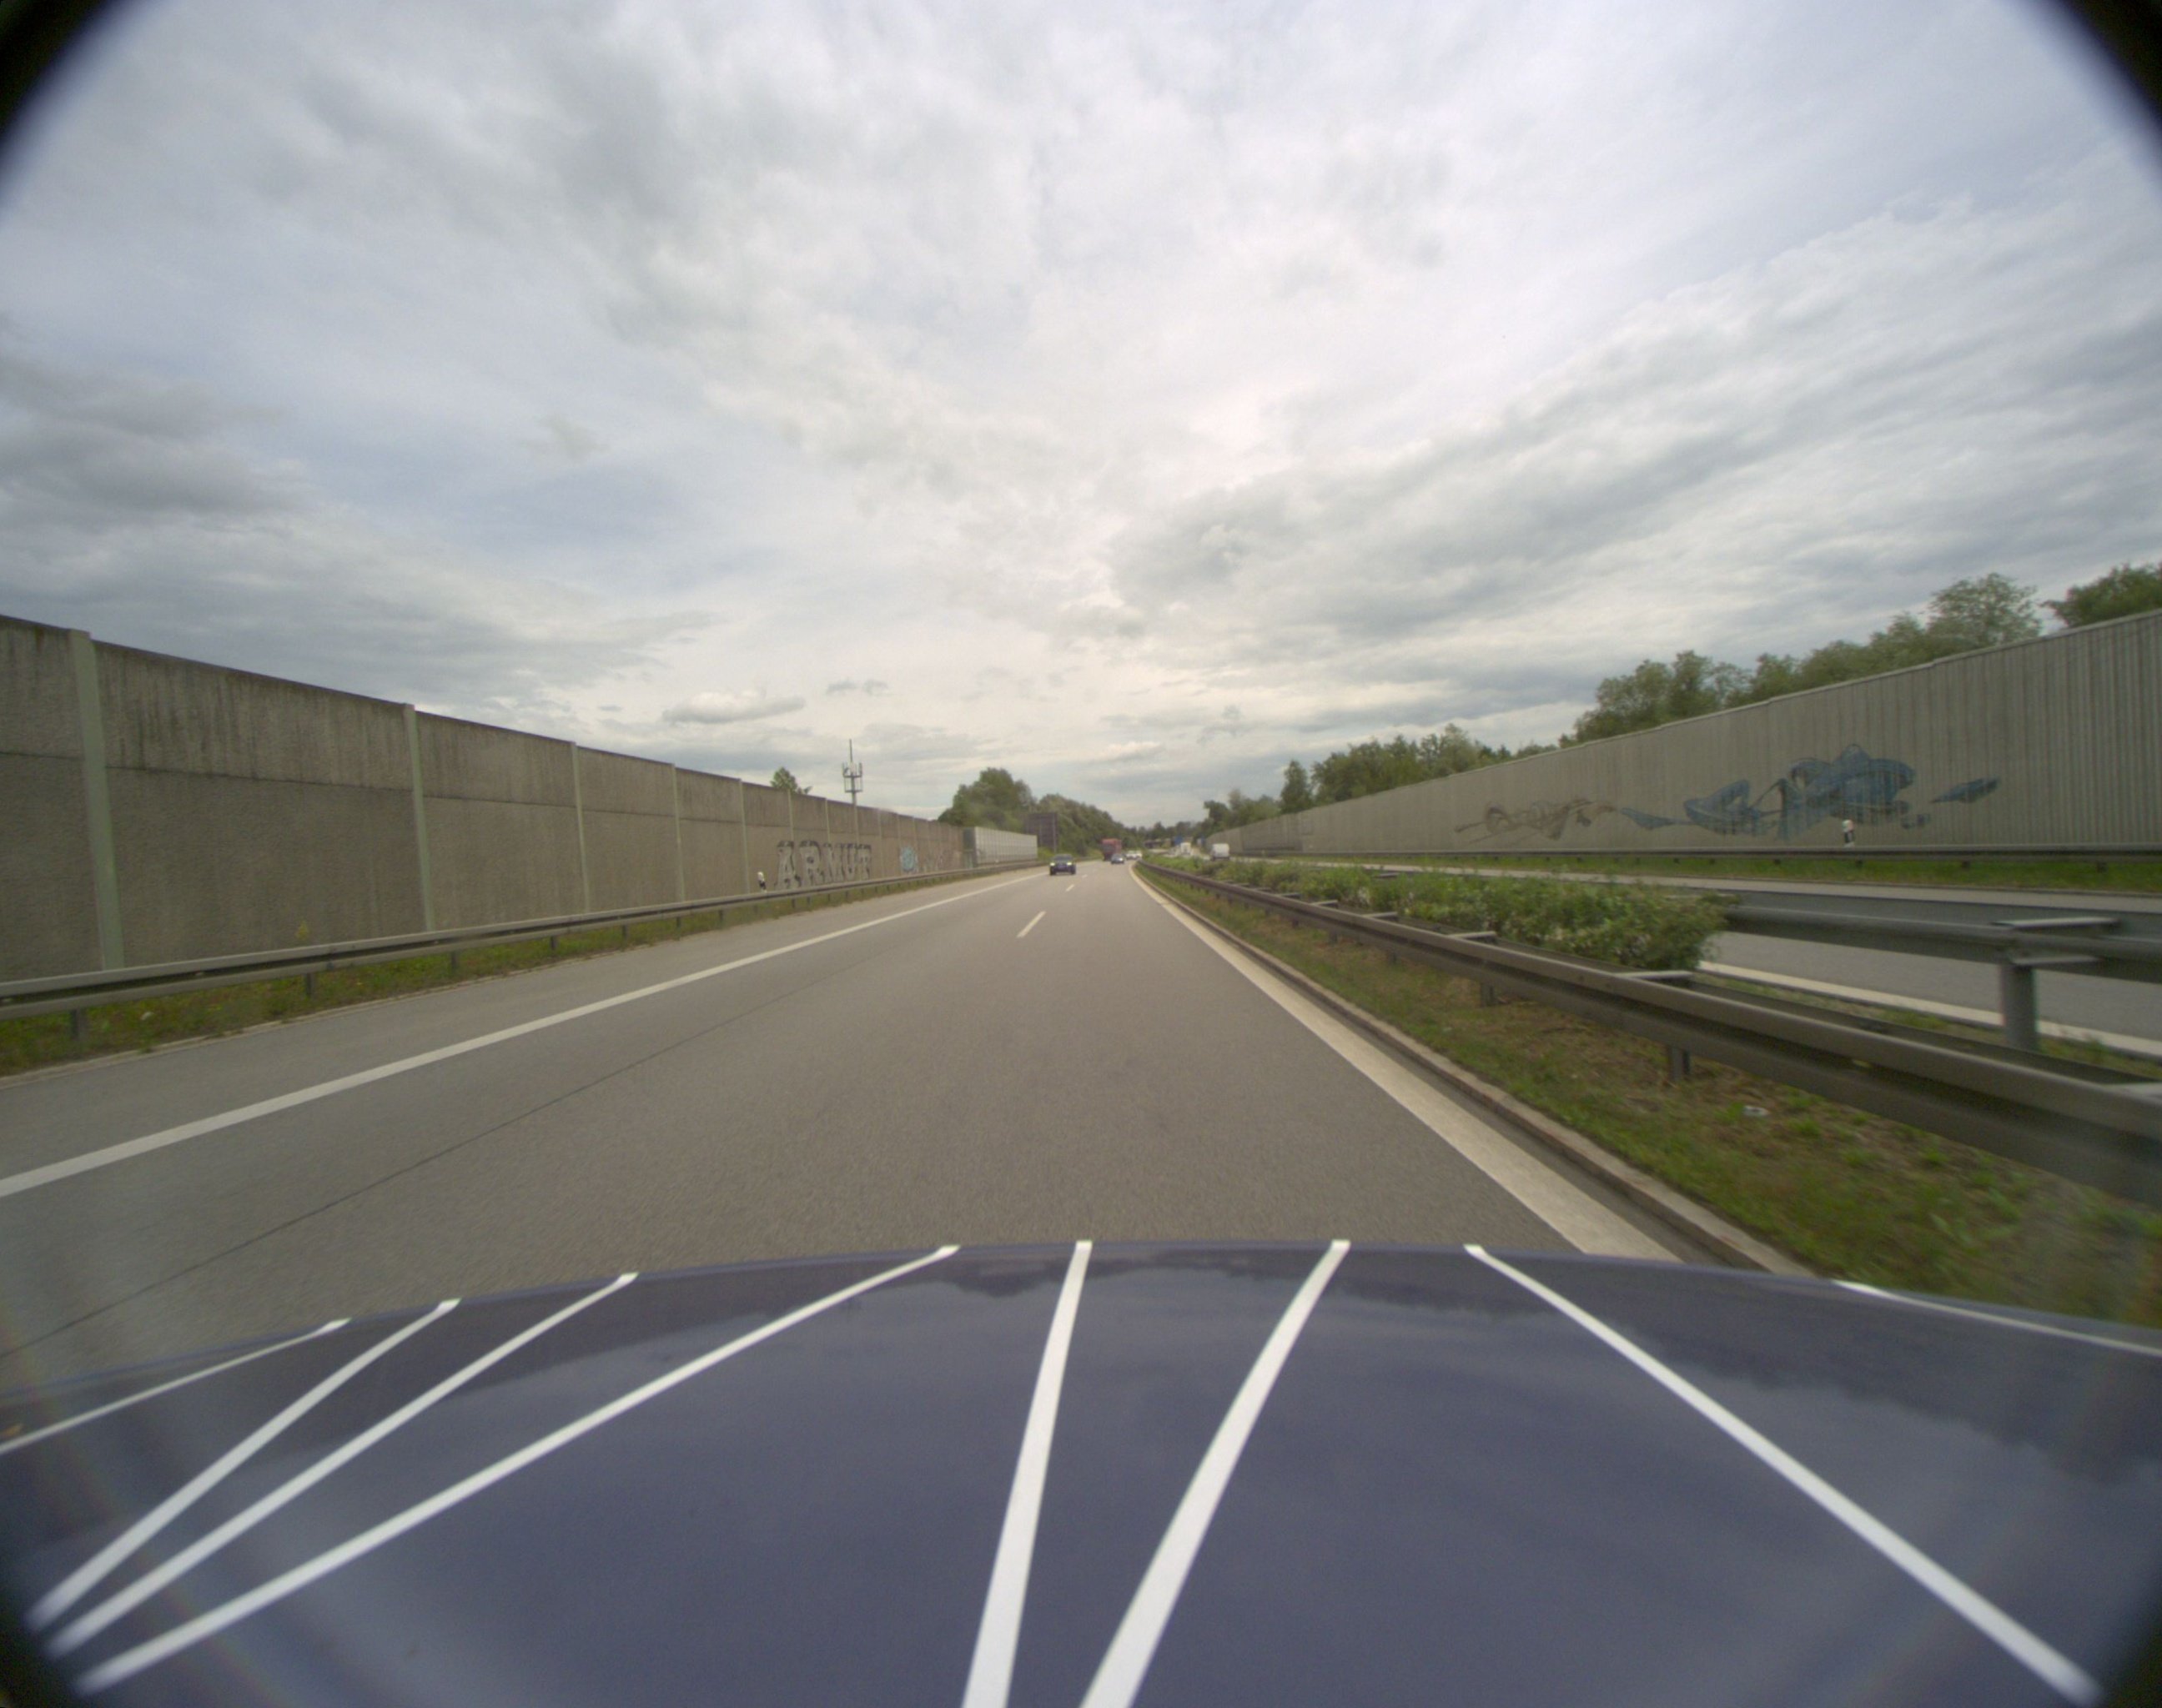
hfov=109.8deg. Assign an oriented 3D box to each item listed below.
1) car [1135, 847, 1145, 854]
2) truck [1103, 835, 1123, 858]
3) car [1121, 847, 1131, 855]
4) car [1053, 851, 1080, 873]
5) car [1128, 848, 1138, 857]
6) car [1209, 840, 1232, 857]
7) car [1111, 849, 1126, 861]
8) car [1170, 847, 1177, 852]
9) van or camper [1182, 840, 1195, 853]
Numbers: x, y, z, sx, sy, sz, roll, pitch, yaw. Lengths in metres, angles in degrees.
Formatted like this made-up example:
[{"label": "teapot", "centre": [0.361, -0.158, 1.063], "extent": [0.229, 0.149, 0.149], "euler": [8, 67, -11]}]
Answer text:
[{"label": "car", "centre": [13.733, -0.786, 175.894], "extent": [1.888, 1.608, 4.002], "euler": [-2, 1, 9]}, {"label": "truck", "centre": [6.214, -1.447, 146.265], "extent": [2.933, 4.068, 11.346], "euler": [-3, 0, 6]}, {"label": "car", "centre": [10.365, -0.706, 176.304], "extent": [1.888, 1.608, 4.002], "euler": [-3, 0, 9]}, {"label": "car", "centre": [-1.085, 0.608, 58.926], "extent": [1.889, 1.608, 4.000], "euler": [-2, 1, 1]}, {"label": "car", "centre": [9.948, -0.347, 144.846], "extent": [1.889, 1.608, 4.001], "euler": [-2, 1, 4]}, {"label": "car", "centre": [15.019, -0.580, 81.986], "extent": [1.746, 1.734, 4.628], "euler": [-2, 0, 2]}, {"label": "car", "centre": [5.191, 0.139, 104.648], "extent": [1.889, 1.608, 4.001], "euler": [-2, 1, 5]}, {"label": "car", "centre": [25.432, -1.179, 208.905], "extent": [1.695, 1.412, 4.651], "euler": [-2, 0, 12]}, {"label": "van or camper", "centre": [26.556, -1.889, 187.558], "extent": [2.470, 2.853, 7.774], "euler": [-2, 0, 11]}]
